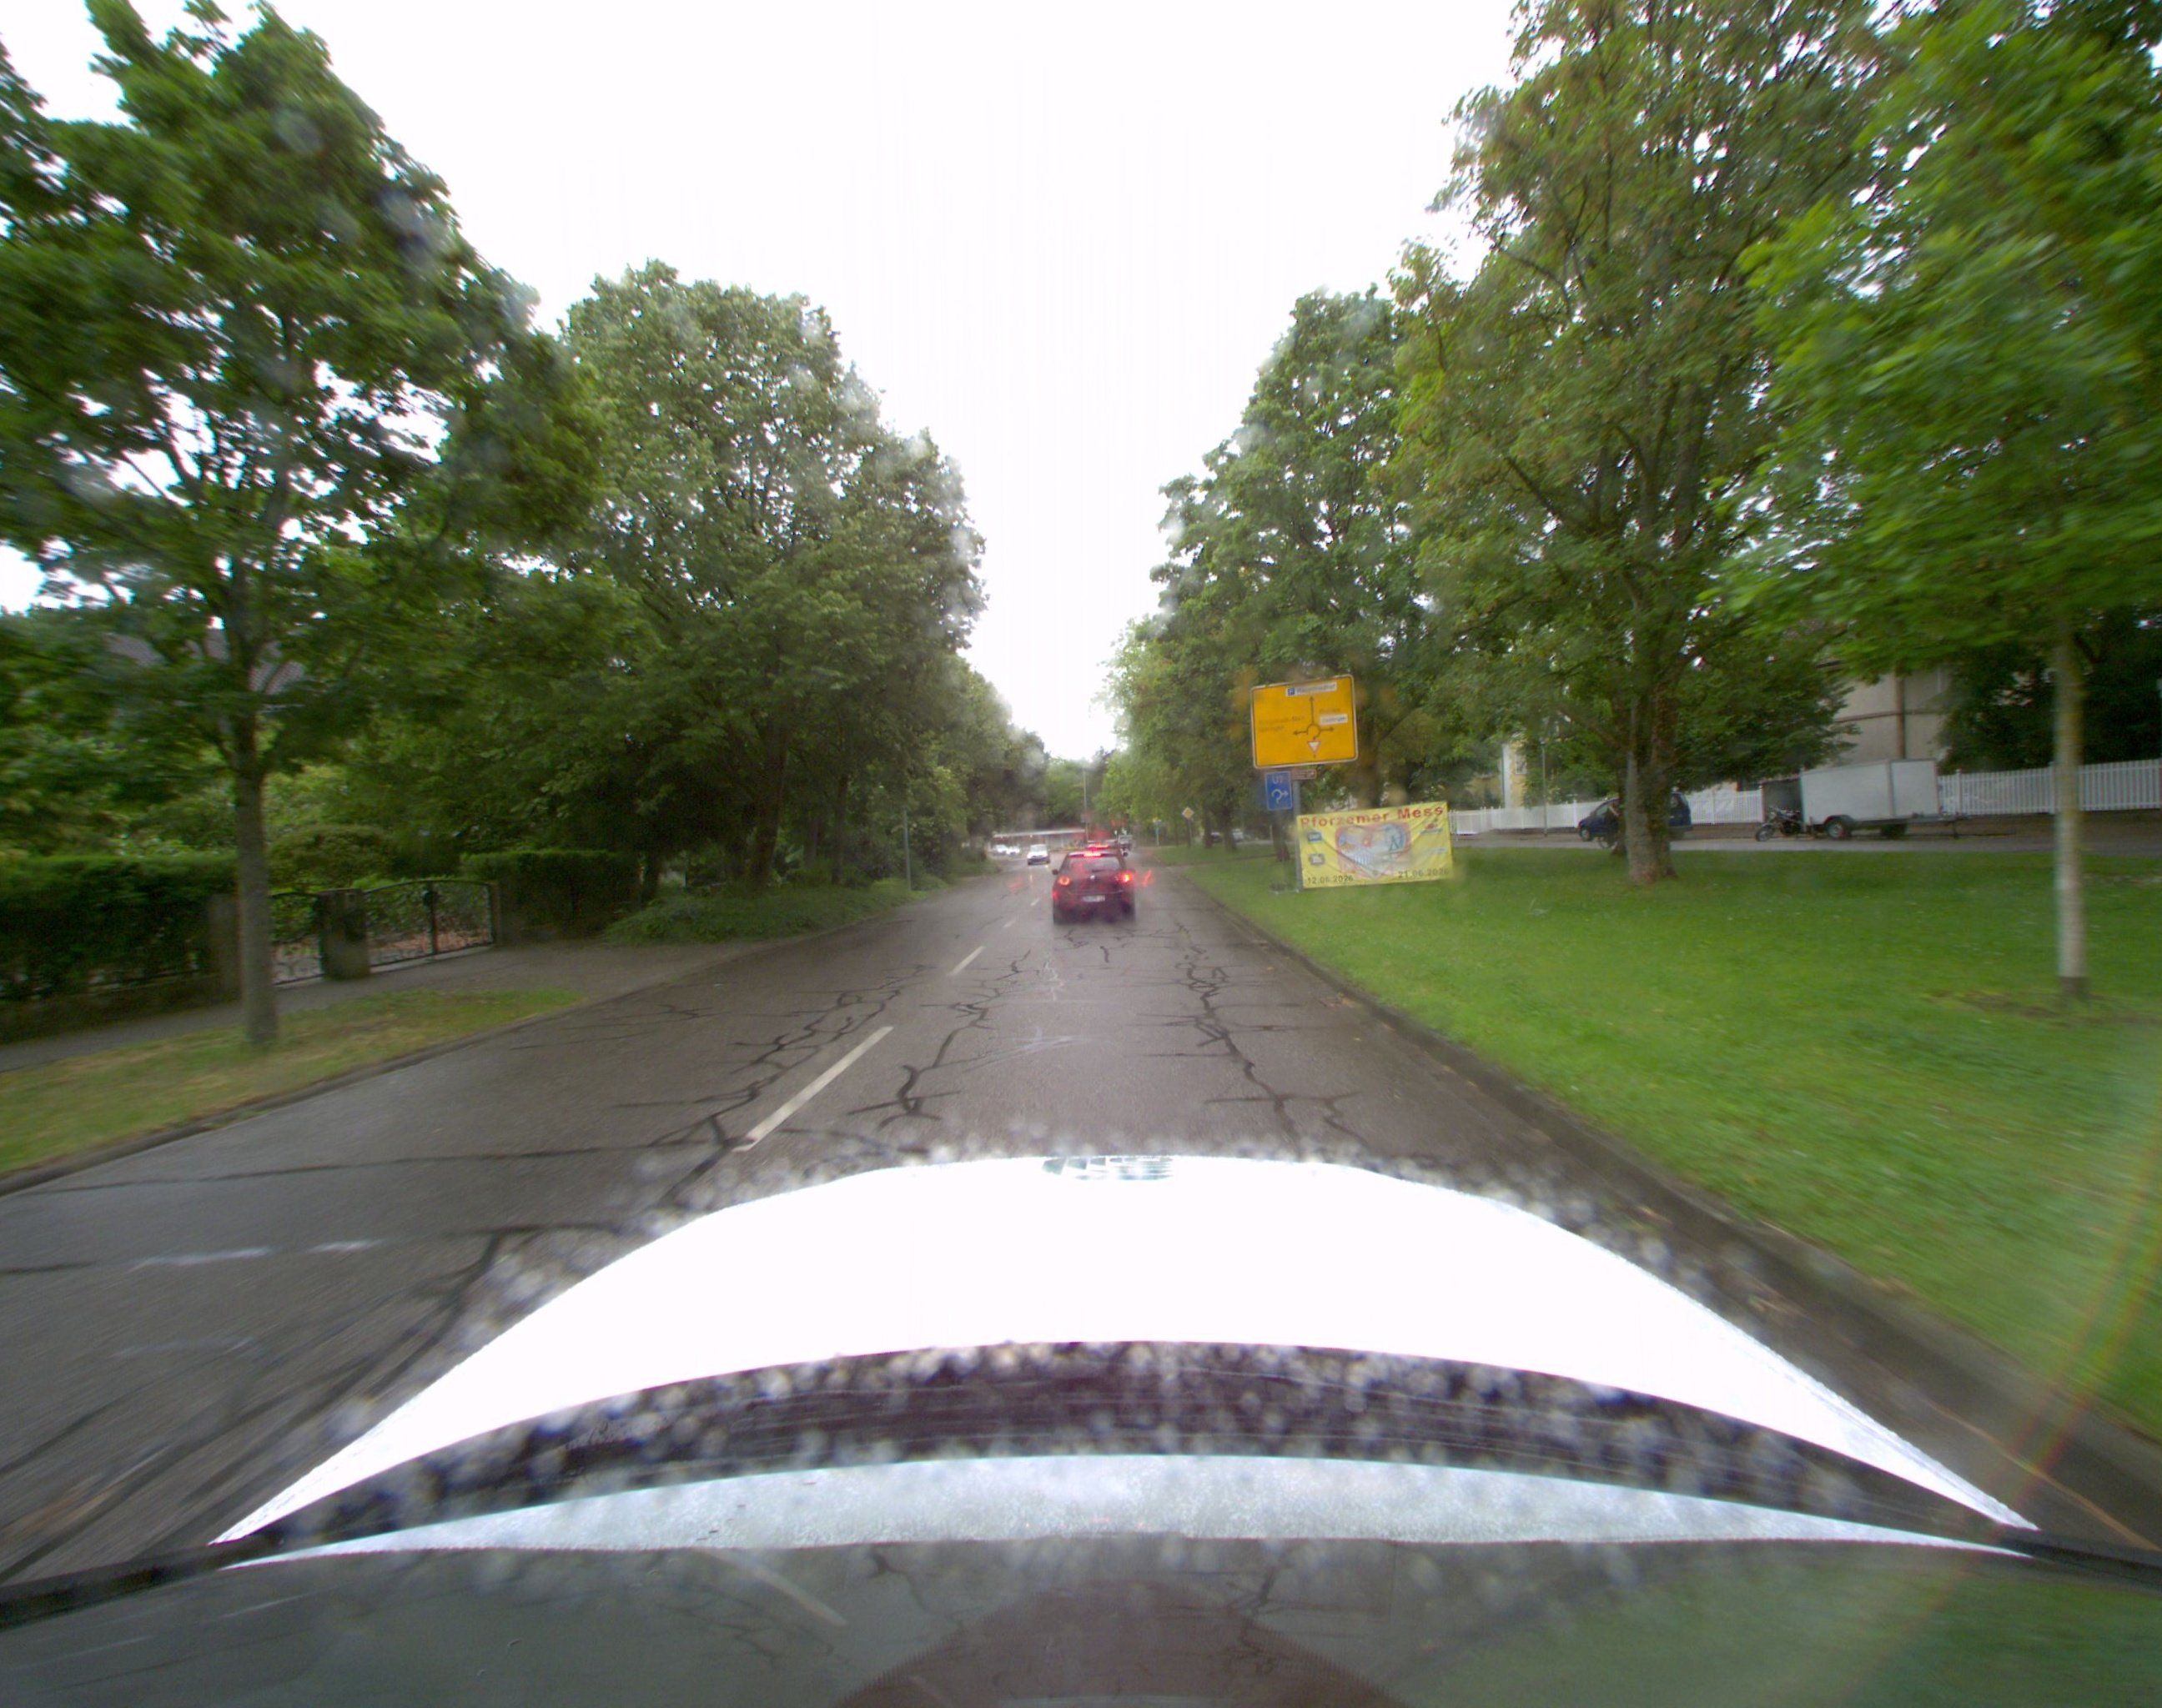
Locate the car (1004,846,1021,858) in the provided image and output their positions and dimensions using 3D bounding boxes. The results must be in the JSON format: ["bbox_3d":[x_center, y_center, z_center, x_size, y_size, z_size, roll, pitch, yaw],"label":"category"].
[{"bbox_3d":[-9.601,-0.268,114.297,1.600,1.427,4.015,-4,2,5],"label":"car"}]

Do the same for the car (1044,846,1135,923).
[{"bbox_3d":[0.252,0.602,18.196,1.792,1.515,3.756,-1,0,2],"label":"car"}]

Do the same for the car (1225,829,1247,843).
[{"bbox_3d":[17.282,-2.054,91.028,1.796,1.406,4.002,-5,1,2],"label":"car"}]

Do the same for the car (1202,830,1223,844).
[{"bbox_3d":[14.666,-1.892,90.871,1.796,1.385,4.002,-5,1,2],"label":"car"}]

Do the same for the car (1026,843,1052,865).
[{"bbox_3d":[-3.458,-0.022,67.396,1.757,1.614,4.142,-4,1,1],"label":"car"}]

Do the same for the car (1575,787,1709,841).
[{"bbox_3d":[21.891,-1.526,32.060,1.936,1.809,4.647,-5,2,-1],"label":"car"}]

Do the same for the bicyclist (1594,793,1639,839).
[{"bbox_3d":[16.933,-1.198,25.773,0.742,1.391,1.000,-3,0,2],"label":"bicyclist"}]

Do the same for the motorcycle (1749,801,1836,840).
[{"bbox_3d":[21.775,-1.018,24.955,1.869,1.092,0.662,-3,2,21],"label":"motorcycle"}]

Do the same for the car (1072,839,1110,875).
[{"bbox_3d":[0.565,0.140,43.849,1.848,1.784,4.002,-3,0,2],"label":"car"}]

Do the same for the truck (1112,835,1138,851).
[{"bbox_3d":[5.676,-1.439,105.237,2.400,2.004,5.170,-3,0,13],"label":"truck"}]

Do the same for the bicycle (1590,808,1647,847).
[{"bbox_3d":[16.943,-0.815,25.722,0.593,1.138,1.864,-3,0,2],"label":"bicycle"}]

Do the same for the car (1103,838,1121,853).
[{"bbox_3d":[3.437,-0.902,90.702,1.702,1.513,3.670,-4,0,-3],"label":"car"}]

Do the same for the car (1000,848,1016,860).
[{"bbox_3d":[-11.275,0.007,125.187,1.764,1.618,3.809,-2,1,4],"label":"car"}]

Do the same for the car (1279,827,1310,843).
[{"bbox_3d":[20.492,-1.840,78.191,1.796,1.411,4.111,-4,2,-1],"label":"car"}]

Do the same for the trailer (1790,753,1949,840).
[{"bbox_3d":[21.983,-1.529,22.839,1.433,2.154,2.947,-3,0,-3],"label":"trailer"}]

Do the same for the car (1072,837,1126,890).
[{"bbox_3d":[0.725,0.319,31.207,1.848,1.784,4.003,-3,1,2],"label":"car"}]
